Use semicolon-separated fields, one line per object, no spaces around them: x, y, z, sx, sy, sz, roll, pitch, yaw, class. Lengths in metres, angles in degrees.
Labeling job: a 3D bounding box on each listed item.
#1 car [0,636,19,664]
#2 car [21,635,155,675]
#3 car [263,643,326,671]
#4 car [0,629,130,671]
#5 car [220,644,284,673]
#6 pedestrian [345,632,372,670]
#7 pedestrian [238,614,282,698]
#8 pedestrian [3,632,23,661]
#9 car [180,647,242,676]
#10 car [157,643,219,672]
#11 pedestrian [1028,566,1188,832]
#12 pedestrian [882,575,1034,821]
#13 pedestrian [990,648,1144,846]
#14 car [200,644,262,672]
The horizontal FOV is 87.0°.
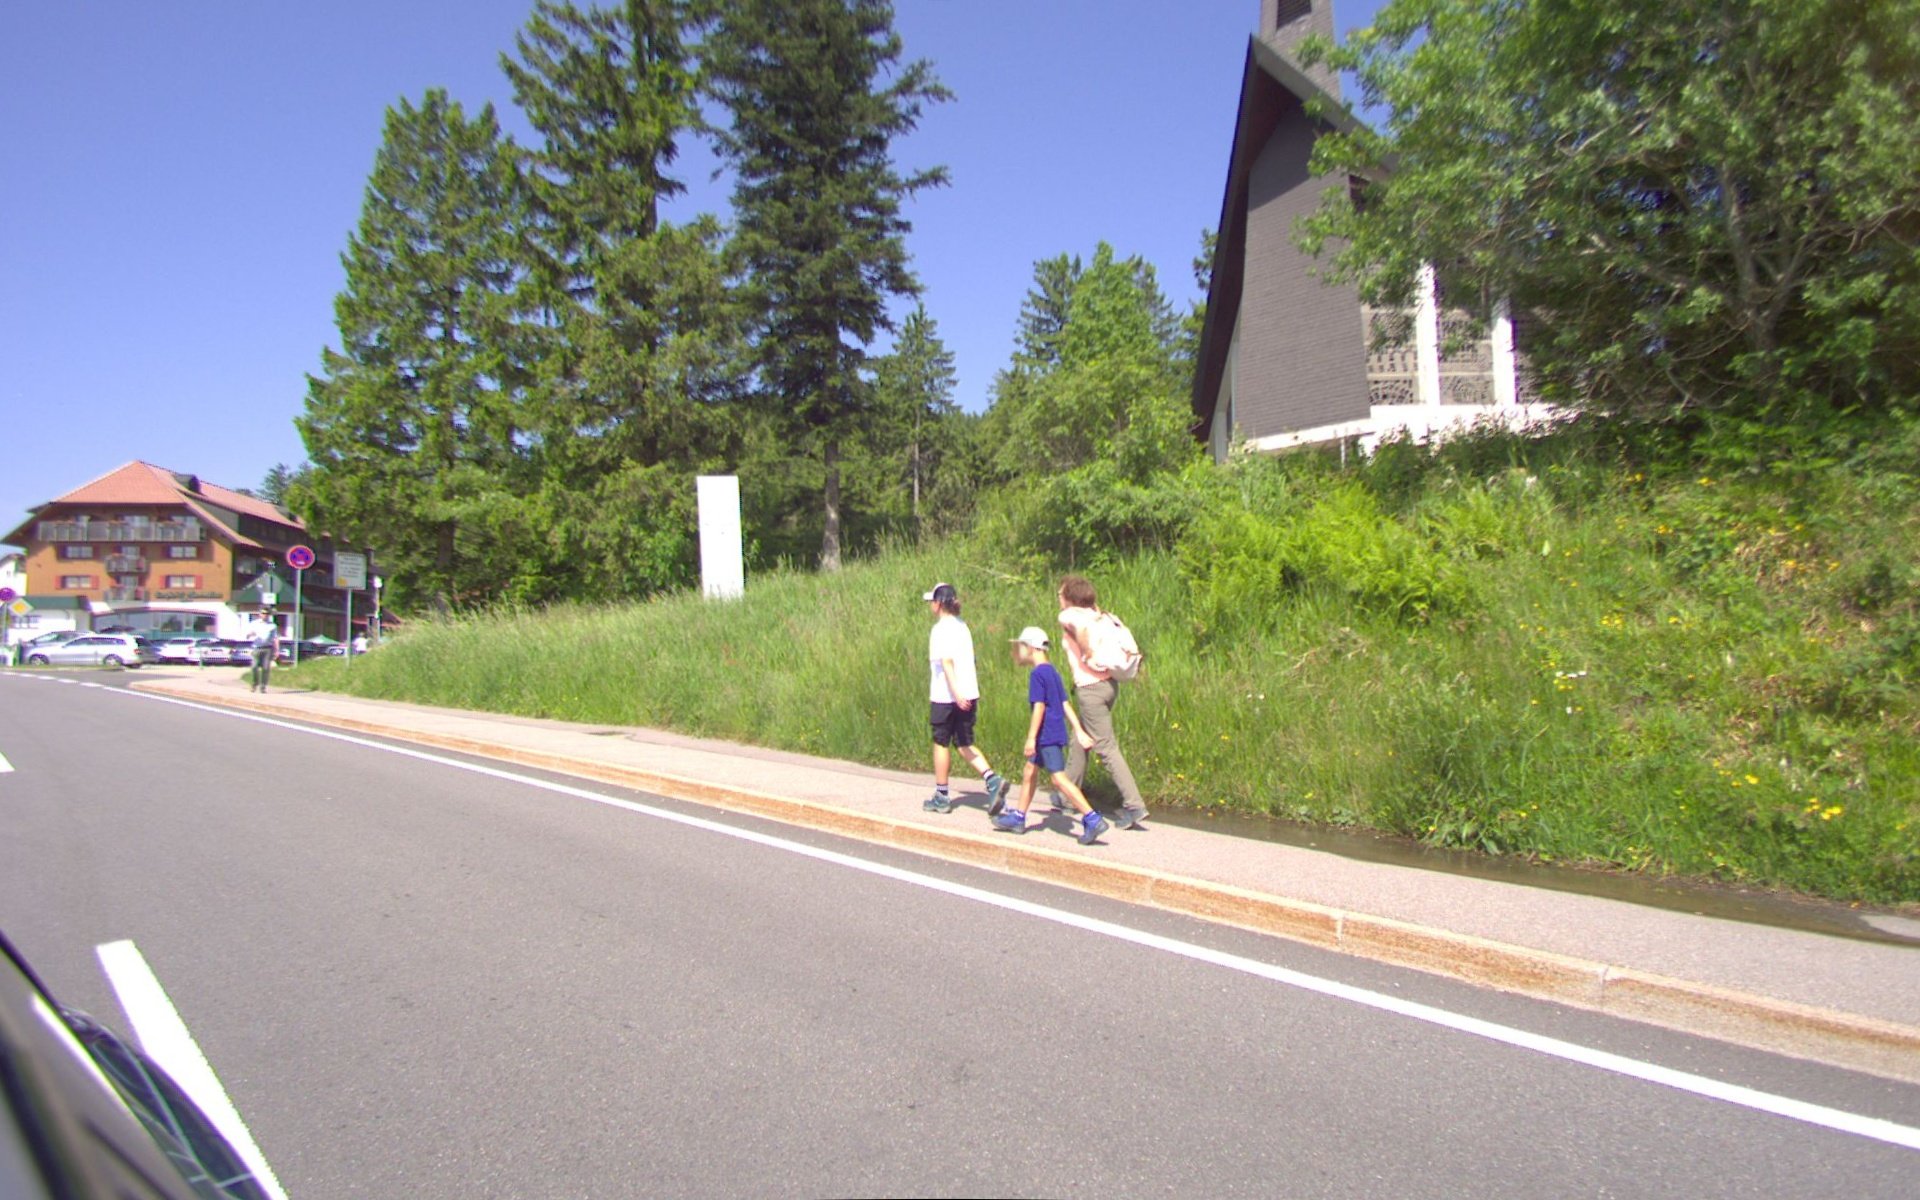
-56.729;2.901;58.312;3.282;1.604;1.719;0;-2;-7;car
-37.074;2.325;43.125;3.897;1.600;1.795;0;-2;-14;car
-34.788;2.991;52.981;1.684;1.406;3.324;0;-3;-14;car
-42.363;2.324;47.201;5.272;1.884;2.006;0;-2;-19;car
-37.707;3.105;53.997;1.690;1.445;3.324;0;-3;-14;car
-27.947;2.363;47.016;0.899;1.754;0.637;0;-2;-7;pedestrian
-15.014;1.194;21.702;0.685;1.754;0.574;-2;-3;36;pedestrian
-56.740;2.771;60.649;0.683;1.712;0.769;-2;-3;42;pedestrian
-42.899;3.517;58.037;1.703;1.476;3.530;0;-1;-15;car
-45.390;3.345;59.547;1.687;1.564;3.142;0;-1;-11;car
0.991;0.635;6.842;0.569;1.655;0.895;2;-3;-44;pedestrian
-0.021;0.635;6.901;0.880;1.549;0.574;-2;-3;43;pedestrian
0.651;0.856;6.211;0.562;1.110;0.745;2;-3;-44;pedestrian
-40.131;3.197;55.771;1.613;1.445;3.324;0;-3;-14;car
